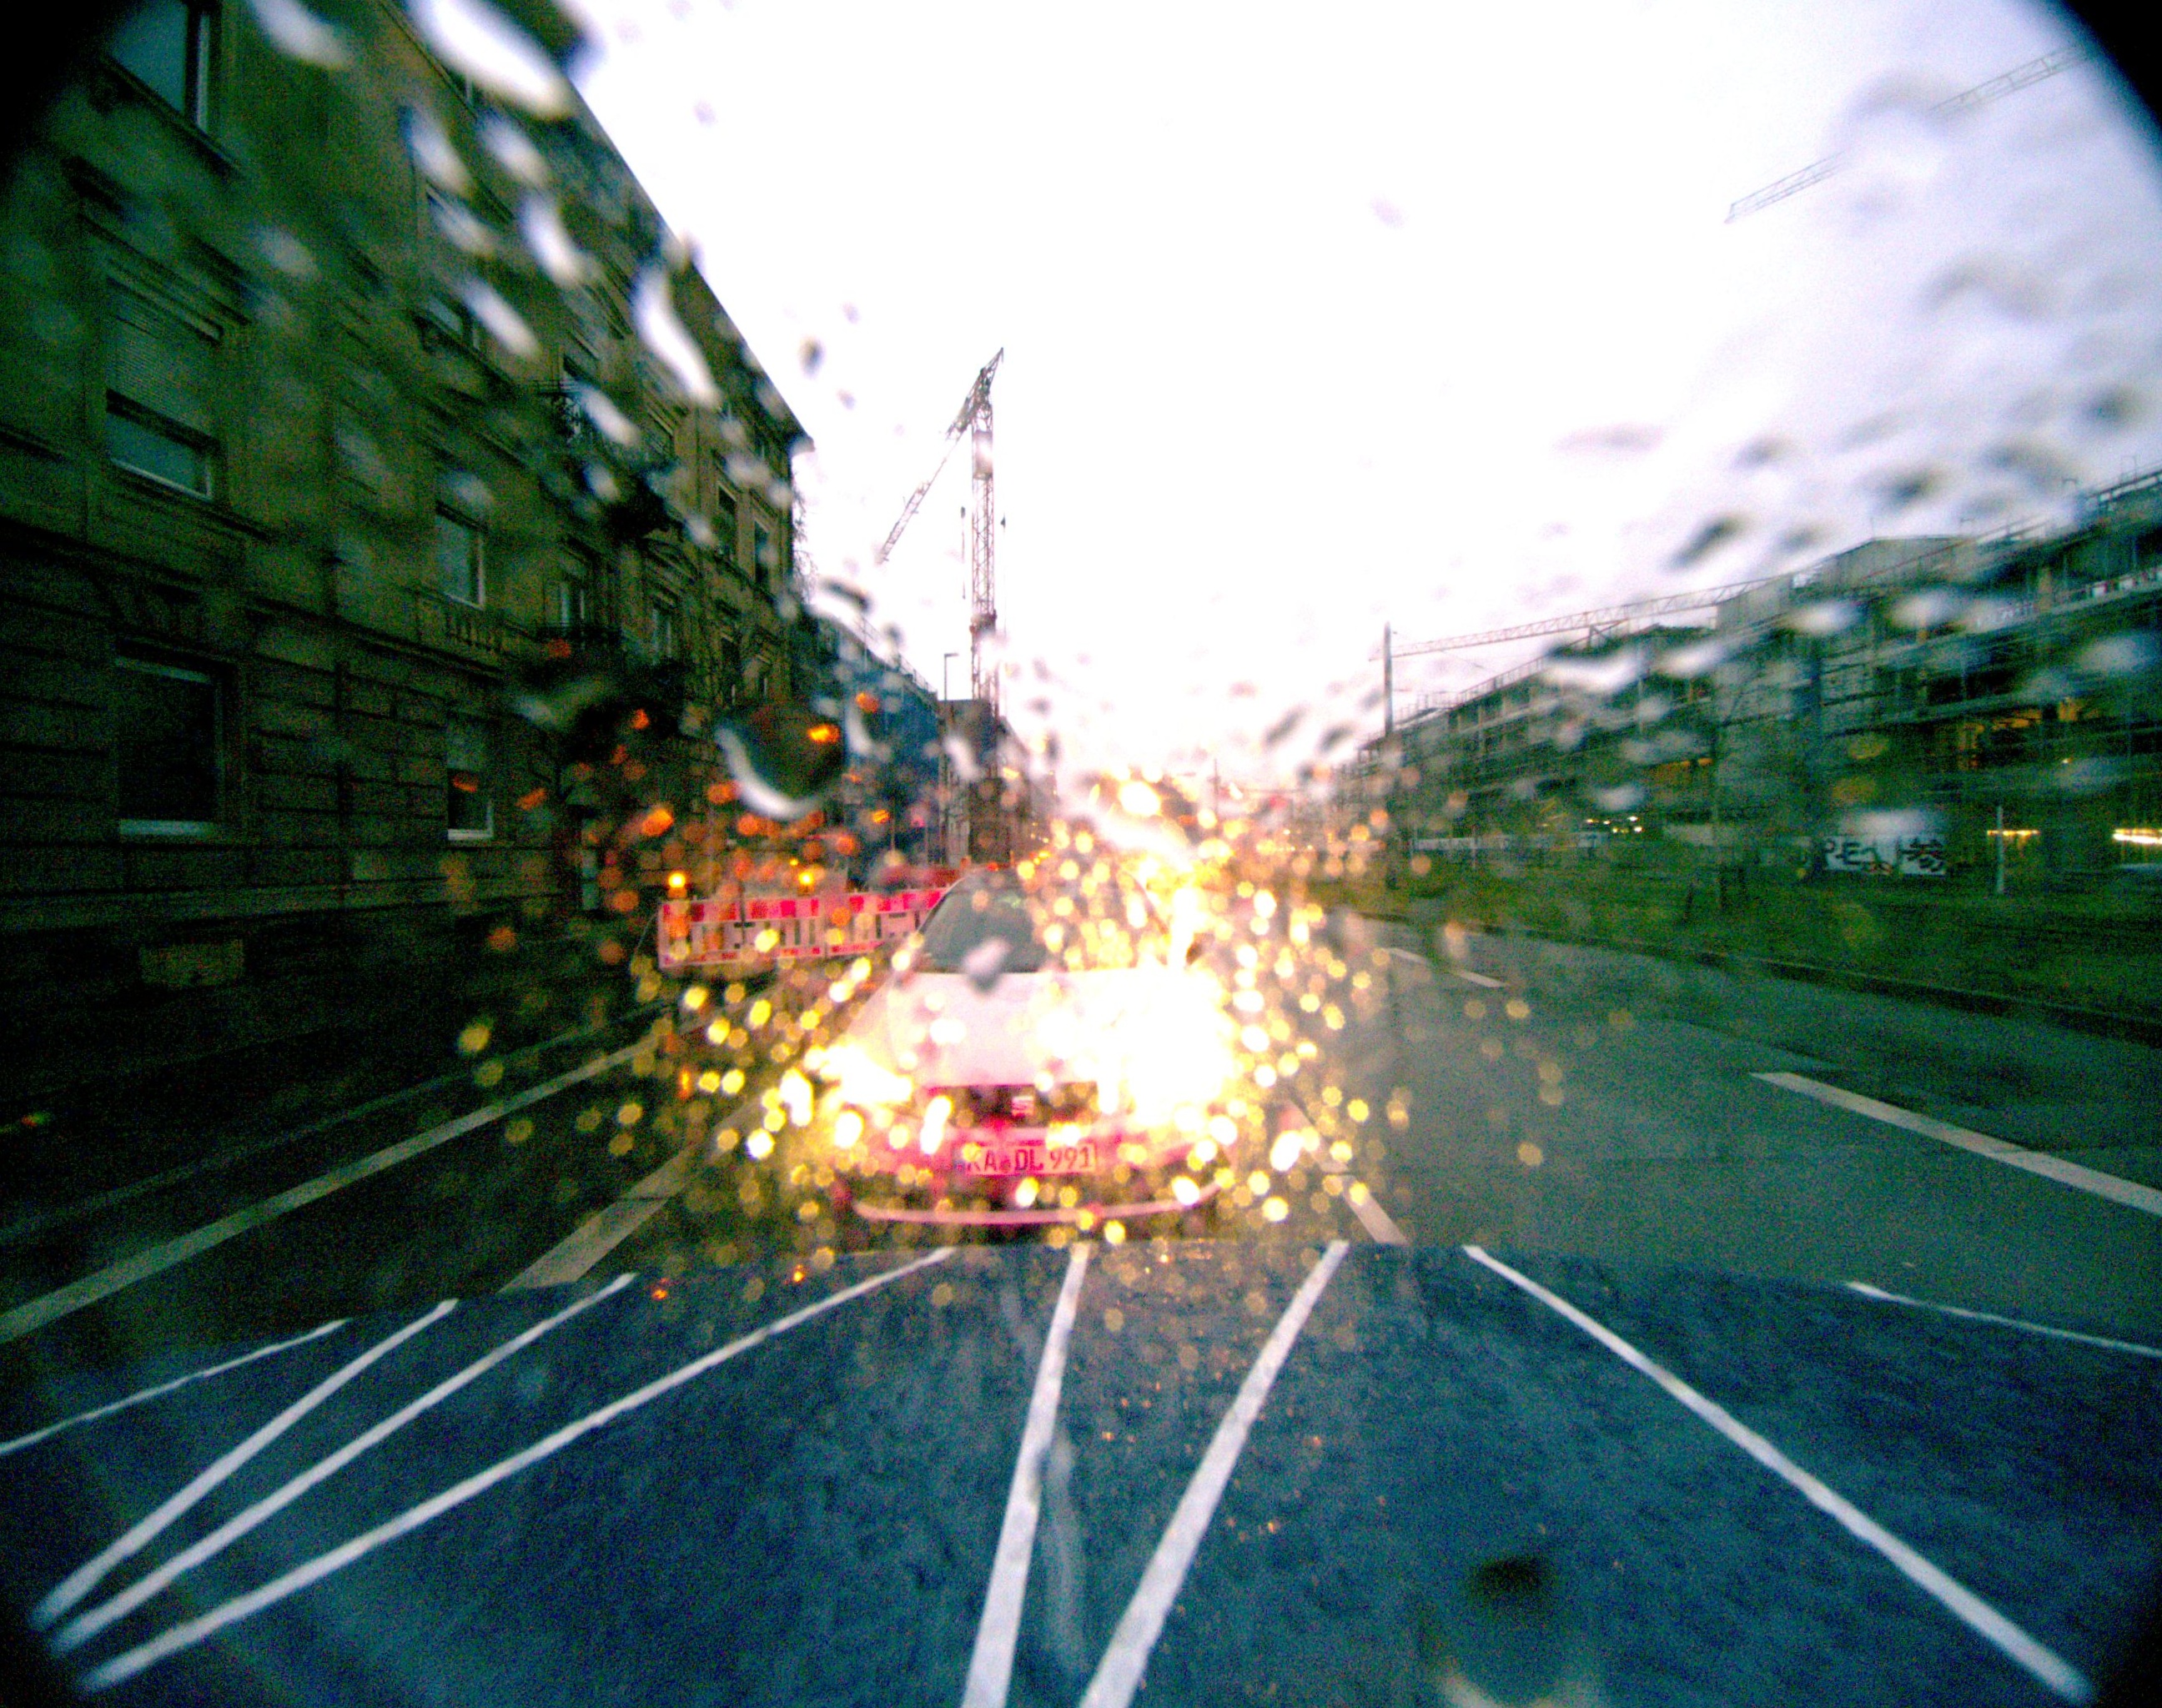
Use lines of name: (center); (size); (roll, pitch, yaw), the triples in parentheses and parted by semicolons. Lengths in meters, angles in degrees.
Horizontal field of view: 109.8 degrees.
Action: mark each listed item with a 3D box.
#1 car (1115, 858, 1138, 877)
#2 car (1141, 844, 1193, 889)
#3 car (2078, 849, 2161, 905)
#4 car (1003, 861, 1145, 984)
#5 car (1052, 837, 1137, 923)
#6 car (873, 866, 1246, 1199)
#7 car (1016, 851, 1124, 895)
car: (4.061, 1.180, 67.858); (1.844, 1.547, 4.000); (-2, 1, 1)
car: (3.595, 0.459, 32.247); (1.857, 1.723, 4.000); (-2, 1, 2)
car: (36.641, 0.748, 25.152); (1.999, 1.761, 3.998); (-2, 1, -3)
car: (-0.130, 0.894, 11.764); (1.764, 1.443, 3.999); (-2, 1, -1)
car: (0.262, 0.573, 19.263); (1.858, 1.886, 3.999); (-2, 1, -1)
car: (-0.143, 0.903, 5.707); (1.764, 1.443, 3.999); (-2, 1, -1)
car: (-0.409, 0.802, 32.187); (4.319, 1.644, 1.846); (-2, 1, 6)
